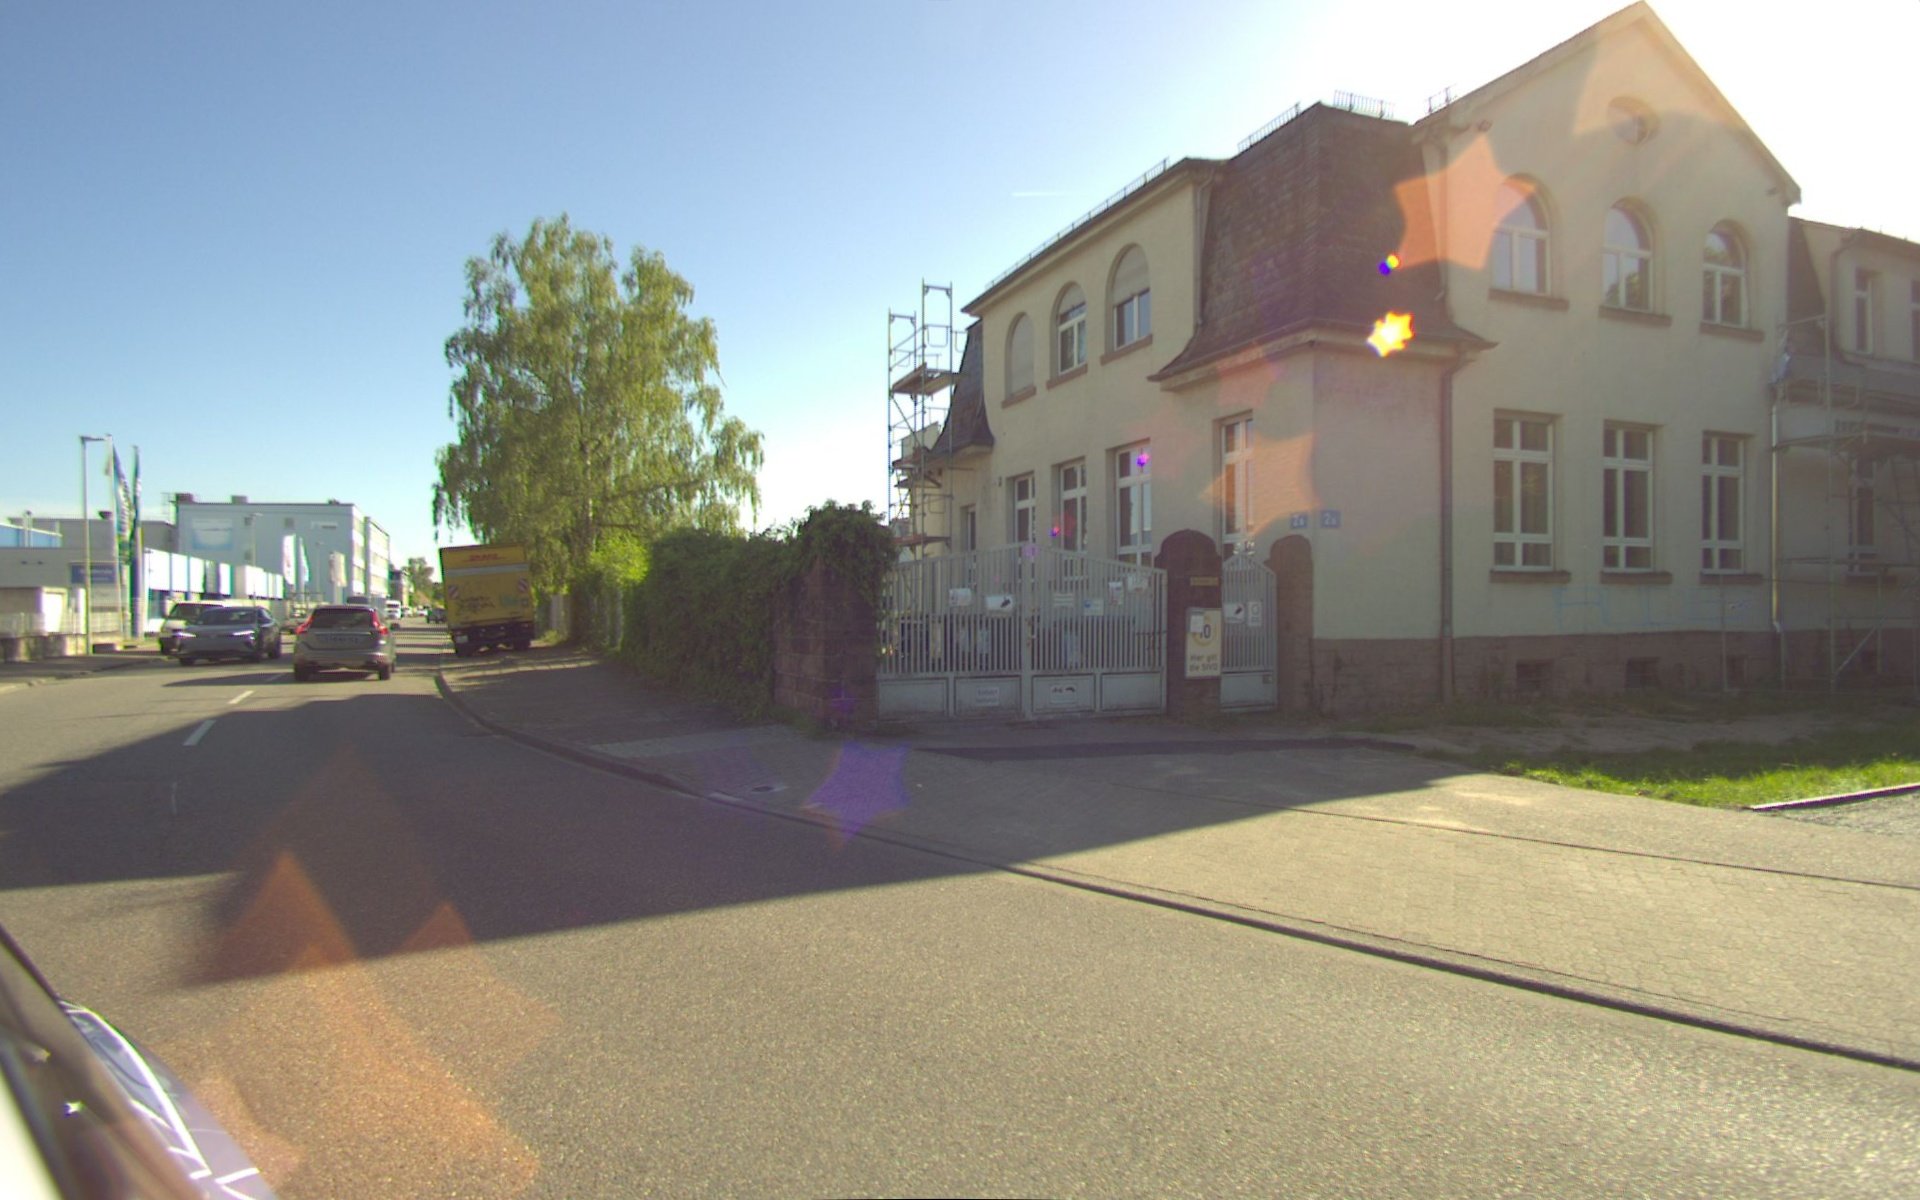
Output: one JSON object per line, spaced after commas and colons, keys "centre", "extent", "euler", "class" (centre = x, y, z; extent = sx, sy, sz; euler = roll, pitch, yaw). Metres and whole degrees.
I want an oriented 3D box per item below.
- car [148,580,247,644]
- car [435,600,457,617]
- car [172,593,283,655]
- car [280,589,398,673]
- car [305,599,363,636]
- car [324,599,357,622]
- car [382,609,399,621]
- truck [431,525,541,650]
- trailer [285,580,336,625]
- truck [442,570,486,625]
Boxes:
{"centre": [-27.231, 0.427, 36.312], "extent": [1.820, 2.028, 4.730], "euler": [-4, 1, -25], "class": "car"}
{"centre": [-52.382, 0.885, 103.136], "extent": [1.820, 1.643, 4.309], "euler": [0, -1, -29], "class": "car"}
{"centre": [-21.038, 0.662, 29.252], "extent": [1.819, 1.643, 4.309], "euler": [0, -1, -25], "class": "car"}
{"centre": [-14.117, 0.669, 23.255], "extent": [1.965, 1.708, 4.580], "euler": [0, -1, -27], "class": "car"}
{"centre": [-29.222, 0.809, 47.354], "extent": [1.819, 1.643, 4.309], "euler": [0, -1, -25], "class": "car"}
{"centre": [-49.091, 0.829, 80.253], "extent": [1.819, 1.718, 4.309], "euler": [0, -1, -27], "class": "car"}
{"centre": [-76.349, 1.984, 135.751], "extent": [1.819, 1.643, 4.309], "euler": [0, -1, -27], "class": "car"}
{"centre": [-16.405, -0.365, 34.928], "extent": [2.802, 3.646, 8.033], "euler": [-5, 2, -26], "class": "truck"}
{"centre": [-41.059, 0.168, 64.075], "extent": [2.126, 2.738, 4.211], "euler": [0, -1, -24], "class": "trailer"}
{"centre": [-36.458, -0.116, 74.419], "extent": [2.749, 3.786, 7.923], "euler": [0, -1, -26], "class": "truck"}
